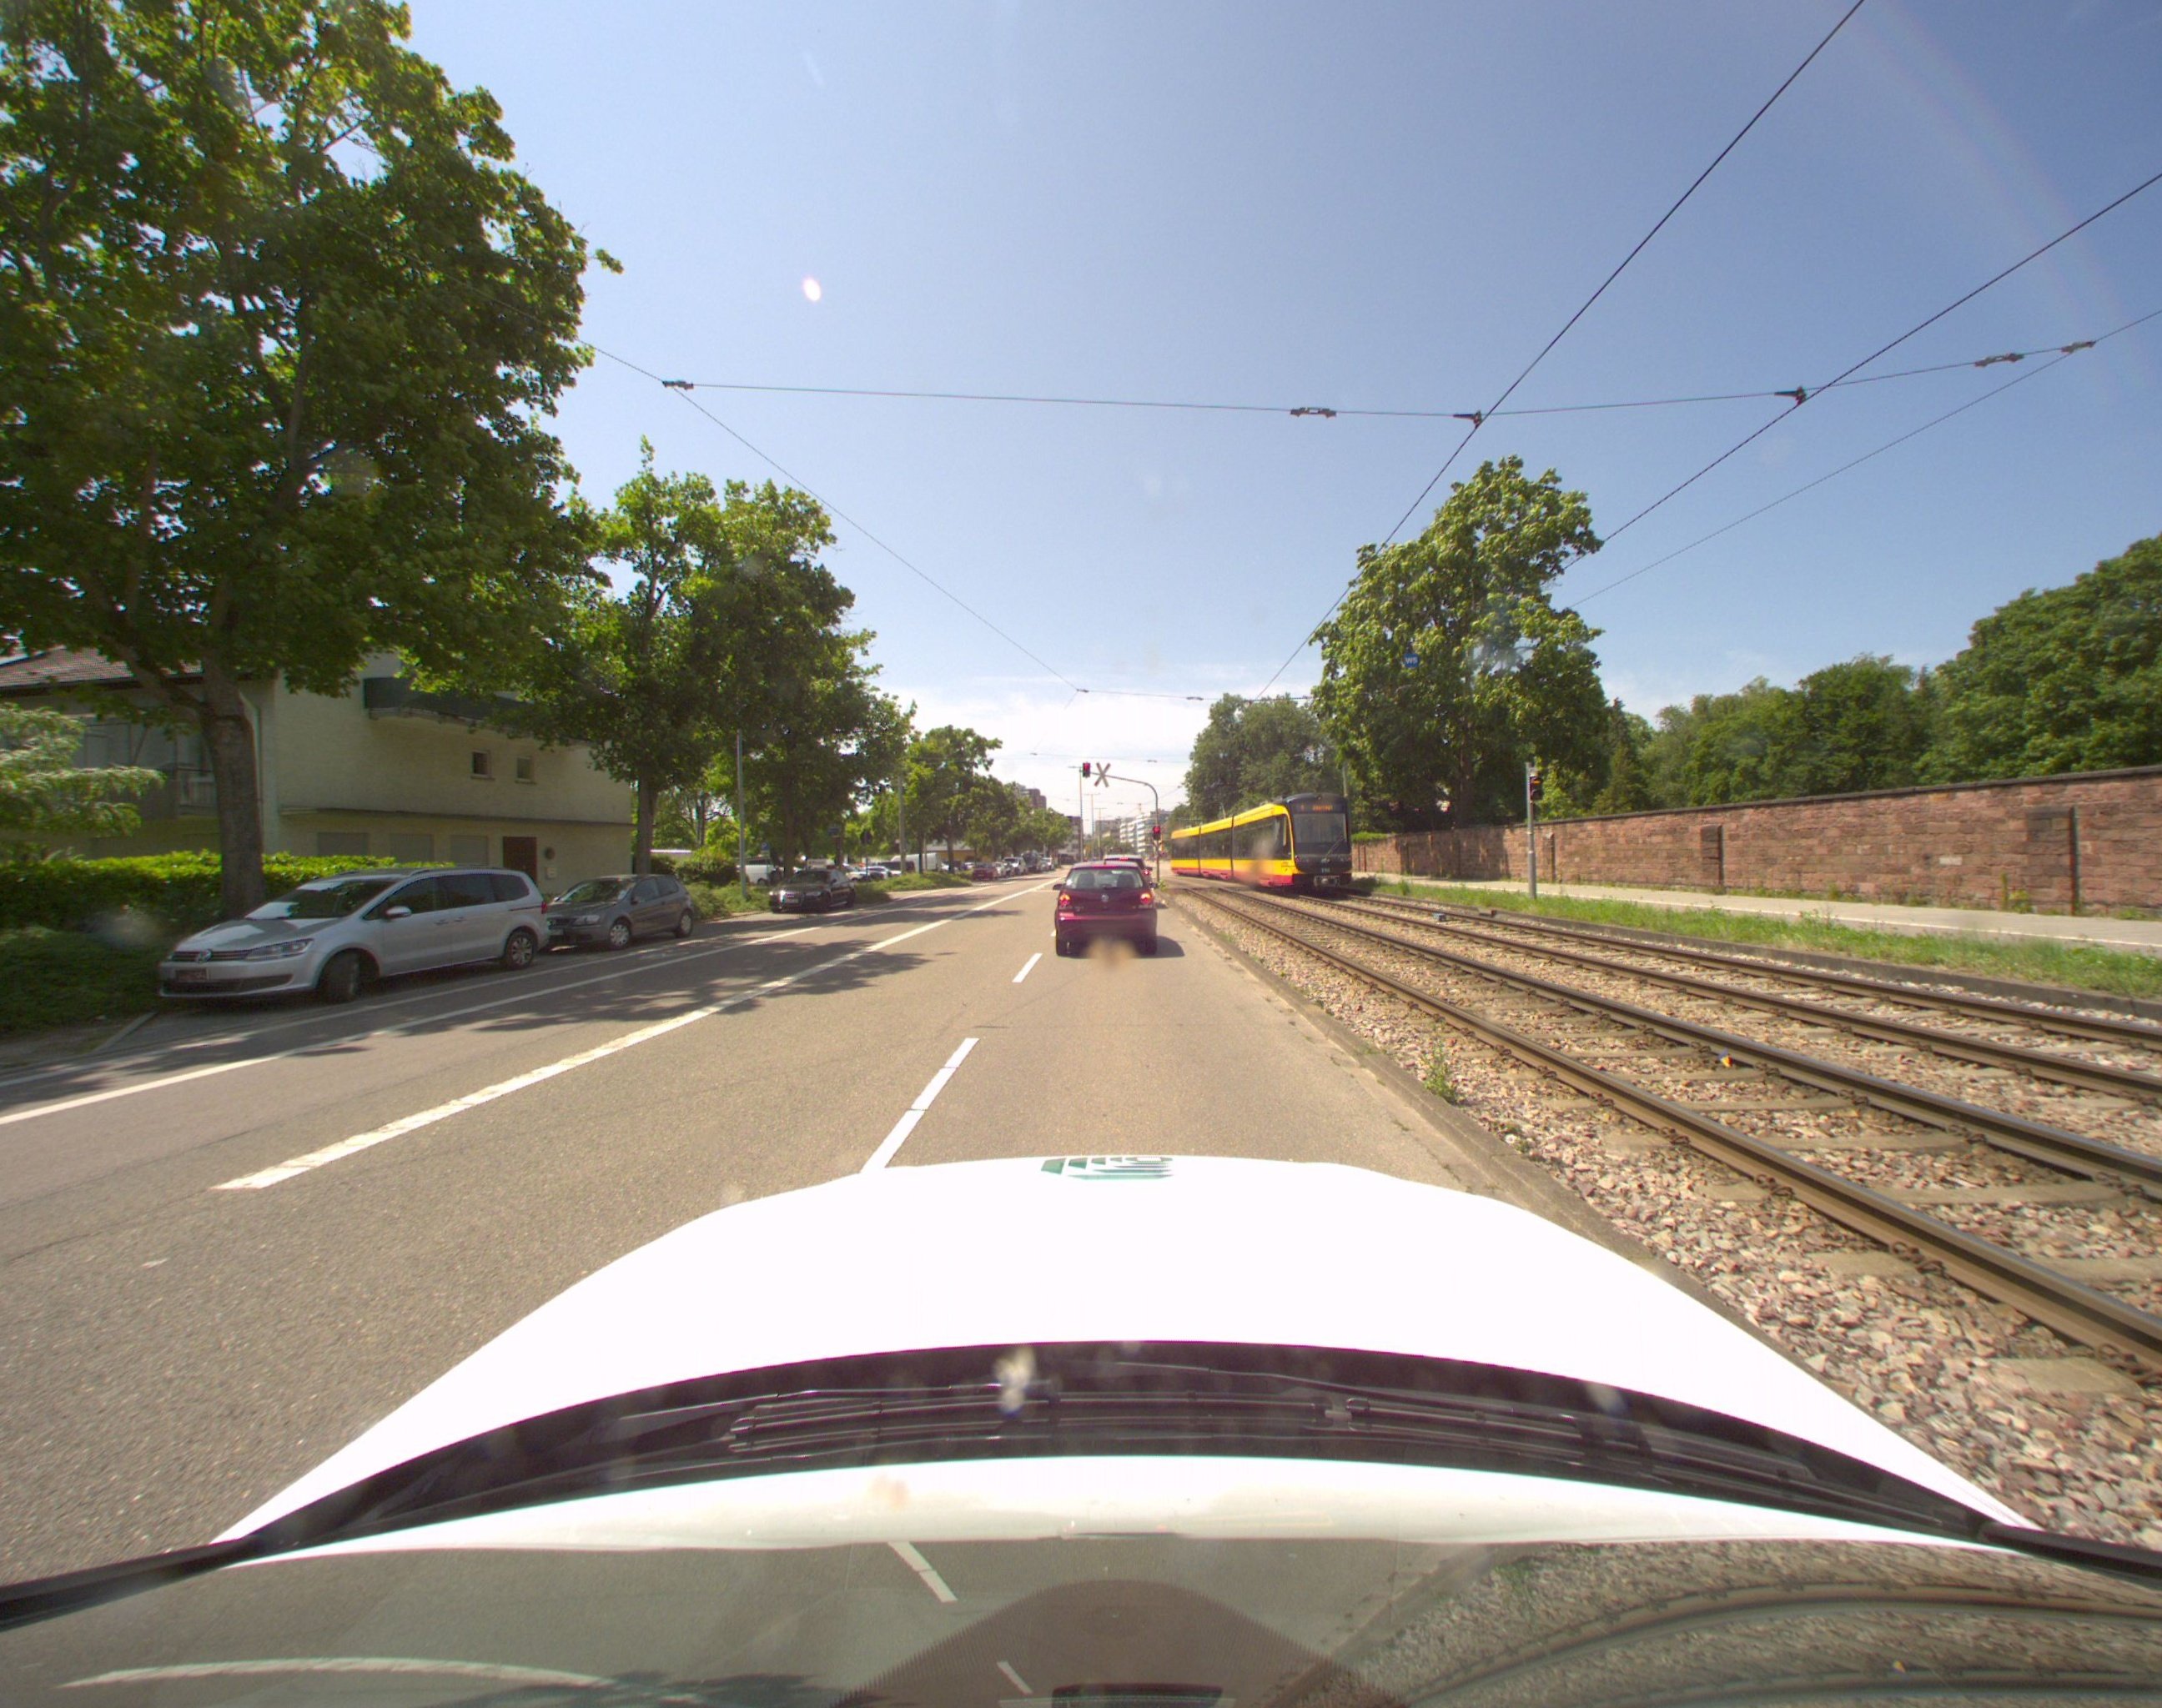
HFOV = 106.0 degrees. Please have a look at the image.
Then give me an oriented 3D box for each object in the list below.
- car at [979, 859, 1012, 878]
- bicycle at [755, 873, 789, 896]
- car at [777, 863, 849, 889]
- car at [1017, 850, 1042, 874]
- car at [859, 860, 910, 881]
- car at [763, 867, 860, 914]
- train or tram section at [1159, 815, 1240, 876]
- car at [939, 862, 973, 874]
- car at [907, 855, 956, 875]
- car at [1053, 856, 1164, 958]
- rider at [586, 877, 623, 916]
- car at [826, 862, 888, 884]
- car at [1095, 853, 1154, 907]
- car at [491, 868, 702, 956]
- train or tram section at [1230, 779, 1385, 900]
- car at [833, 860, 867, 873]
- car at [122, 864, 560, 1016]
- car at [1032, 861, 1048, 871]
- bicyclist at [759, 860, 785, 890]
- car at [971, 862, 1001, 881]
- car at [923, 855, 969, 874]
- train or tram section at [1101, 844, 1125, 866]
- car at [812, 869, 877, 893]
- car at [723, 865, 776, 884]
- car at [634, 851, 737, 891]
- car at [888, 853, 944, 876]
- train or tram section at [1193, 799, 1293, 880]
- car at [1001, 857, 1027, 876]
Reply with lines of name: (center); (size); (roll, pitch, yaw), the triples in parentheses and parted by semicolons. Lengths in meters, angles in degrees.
car: (-7.617, 1.297, 73.130); (1.965, 1.601, 4.566); (0, -1, 7)
bicycle: (-14.319, 1.400, 37.806); (0.697, 1.030, 1.831); (0, -1, 5)
car: (-18.798, 1.537, 57.264); (4.329, 1.585, 1.912); (-2, 0, 0)
car: (-6.014, 0.985, 96.394); (2.352, 2.692, 5.311); (0, -1, 3)
car: (-17.575, 1.442, 72.953); (3.973, 1.746, 1.998); (-2, 0, 1)
car: (-9.406, 1.229, 28.840); (1.812, 1.476, 4.450); (0, 0, 2)
train or tram section: (8.207, -0.515, 58.385); (3.022, 3.798, 12.741); (-2, 0, -4)
car: (-16.443, 1.863, 107.266); (4.003, 1.617, 1.818); (0, -1, 3)
car: (-17.383, 1.243, 94.743); (5.076, 2.244, 2.380); (0, -1, 3)
car: (0.464, 0.805, 14.183); (1.666, 1.521, 4.001); (0, 0, 1)
rider: (-17.508, 1.549, 29.926); (0.820, 1.374, 0.814); (-2, 0, 10)
car: (-17.835, 1.477, 64.920); (4.318, 1.585, 1.917); (-2, 0, 8)
car: (1.354, 0.789, 26.540); (1.770, 1.647, 4.001); (0, 0, 1)
car: (-9.854, 1.096, 17.019); (1.812, 1.564, 4.182); (0, 0, 2)
train or tram section: (8.504, -0.455, 32.852); (3.016, 3.798, 13.097); (-2, 0, 2)
car: (-30.849, 1.693, 108.828); (4.006, 1.617, 1.816); (0, -1, 0)
car: (-10.122, 1.029, 11.837); (1.866, 1.664, 4.783); (-1, 0, 2)
car: (-5.748, 1.672, 113.619); (1.606, 1.441, 4.006); (0, -1, 6)
bicyclist: (-14.320, 0.981, 37.771); (0.805, 1.374, 0.829); (0, -1, 5)
car: (-7.746, 1.390, 66.577); (1.655, 1.497, 4.004); (0, -1, 4)
car: (-16.541, 1.339, 99.950); (5.076, 2.244, 2.380); (0, -1, 3)
train or tram section: (5.459, 0.209, 141.687); (2.736, 3.609, 12.848); (0, 0, -5)
car: (-18.049, 2.055, 62.197); (4.319, 1.585, 1.917); (-2, 0, 7)
car: (-29.903, 1.863, 73.531); (3.982, 1.653, 1.812); (1, -1, -7)
car: (-30.868, 1.332, 63.711); (6.828, 2.965, 2.364); (0, -1, 0)
car: (-16.860, 1.069, 83.494); (5.076, 2.244, 2.380); (0, -1, 3)
train or tram section: (8.707, -0.670, 45.795); (3.018, 3.798, 13.089); (-2, 0, 0)
car: (-6.810, 1.241, 83.357); (1.774, 1.882, 4.792); (0, -1, 5)
